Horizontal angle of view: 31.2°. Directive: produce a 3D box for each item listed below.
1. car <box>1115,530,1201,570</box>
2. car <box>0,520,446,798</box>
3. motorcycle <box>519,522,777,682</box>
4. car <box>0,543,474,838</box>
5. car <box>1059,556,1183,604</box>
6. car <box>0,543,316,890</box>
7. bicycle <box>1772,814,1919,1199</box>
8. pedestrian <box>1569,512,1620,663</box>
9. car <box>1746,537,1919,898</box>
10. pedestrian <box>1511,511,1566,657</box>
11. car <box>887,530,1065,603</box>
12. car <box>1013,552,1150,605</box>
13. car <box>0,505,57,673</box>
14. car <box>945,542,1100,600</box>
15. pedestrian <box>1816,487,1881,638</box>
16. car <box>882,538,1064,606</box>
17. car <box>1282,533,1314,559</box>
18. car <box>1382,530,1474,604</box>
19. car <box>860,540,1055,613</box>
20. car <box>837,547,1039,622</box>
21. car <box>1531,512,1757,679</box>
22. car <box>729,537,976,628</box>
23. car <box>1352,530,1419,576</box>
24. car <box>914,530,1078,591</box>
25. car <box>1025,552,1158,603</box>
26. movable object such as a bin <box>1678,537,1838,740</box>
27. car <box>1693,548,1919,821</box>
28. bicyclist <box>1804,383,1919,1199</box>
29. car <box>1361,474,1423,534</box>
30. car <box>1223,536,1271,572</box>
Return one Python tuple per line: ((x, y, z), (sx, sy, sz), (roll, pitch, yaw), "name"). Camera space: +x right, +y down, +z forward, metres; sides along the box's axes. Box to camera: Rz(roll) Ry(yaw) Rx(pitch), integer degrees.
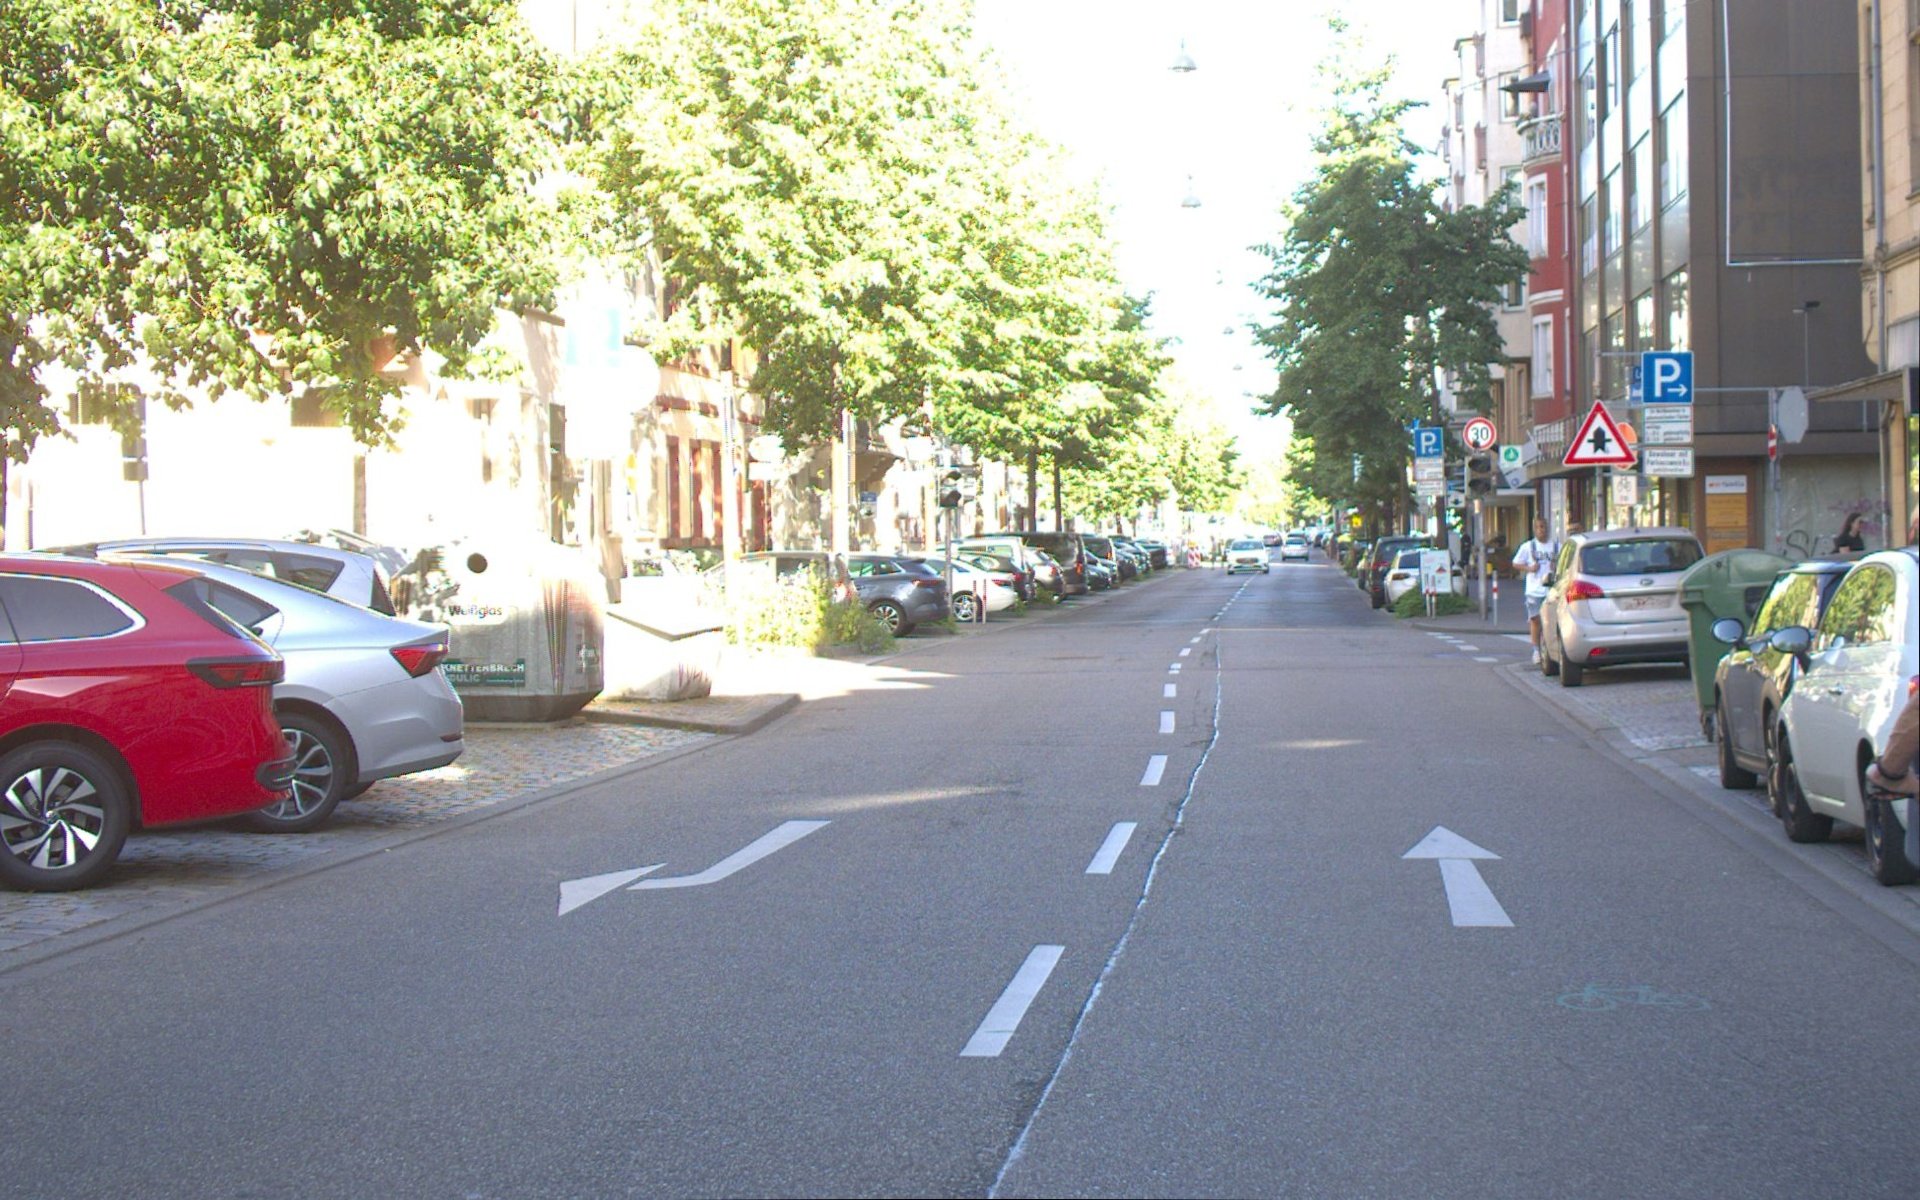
((10.028, -2.506, 173.851), (3.990, 2.007, 1.999), (0, 1, 16), "car")
((-5.298, 0.335, 20.675), (3.986, 1.580, 1.831), (1, 0, -25), "car")
((-3.256, 0.022, 35.874), (2.475, 1.599, 0.998), (-1, 1, 25), "motorcycle")
((-4.865, 0.448, 18.113), (4.220, 1.472, 1.736), (1, 0, -26), "car")
((5.503, -0.685, 117.106), (3.988, 1.503, 1.999), (2, 1, 10), "car")
((-5.402, 0.483, 15.204), (4.833, 1.483, 1.765), (1, 0, -17), "car")
((1.965, 0.949, 6.063), (0.652, 0.955, 2.697), (1, 0, 5), "bicycle")
((7.516, -0.144, 40.759), (0.512, 1.774, 0.612), (1, 0, 4), "pedestrian")
((4.850, 0.456, 16.188), (1.718, 1.510, 3.582), (-3, 0, 5), "car")
((6.938, -0.196, 41.245), (0.614, 1.729, 0.634), (1, 0, 7), "pedestrian")
((0.400, -0.798, 81.710), (3.988, 1.668, 2.088), (1, 0, 7), "car")
((3.804, -0.678, 107.353), (3.988, 1.503, 1.999), (2, 1, 10), "car")
((-12.598, -0.145, 37.176), (5.262, 1.794, 2.164), (1, 0, -20), "car")
((1.701, -0.789, 92.458), (3.988, 1.503, 2.000), (1, 0, 6), "car")
((11.113, -0.464, 42.993), (0.646, 1.865, 0.626), (1, 0, 28), "pedestrian")
((0.313, -0.651, 79.221), (3.988, 1.503, 1.999), (1, 0, 7), "car")
((20.801, -3.314, 211.627), (1.871, 1.550, 3.999), (1, 0, 6), "car")
((10.648, -0.734, 78.171), (1.994, 1.612, 4.009), (1, 0, 8), "car")
((-0.030, -0.510, 74.198), (3.988, 1.503, 1.999), (1, 0, 7), "car")
((-0.440, -0.336, 71.925), (3.988, 1.503, 1.999), (1, 0, 7), "car")
((7.303, -0.053, 37.138), (1.899, 1.669, 4.824), (1, 0, 5), "car")
((-1.827, -0.305, 59.247), (3.988, 1.503, 1.999), (1, 0, 7), "car")
((13.642, -1.501, 110.406), (1.994, 1.448, 3.999), (0, 1, 5), "car")
((0.935, -1.011, 87.892), (3.988, 1.503, 1.894), (1, 0, 7), "car")
((4.207, -0.717, 109.578), (3.988, 1.503, 1.999), (2, 1, 10), "car")
((6.165, 0.280, 26.643), (1.074, 1.452, 1.492), (-3, 1, 11), "movable object such as a bin")
((5.343, 0.450, 20.131), (1.678, 1.443, 3.784), (1, 0, 6), "car")
((1.982, 0.375, 6.048), (0.786, 1.448, 1.095), (1, 0, 5), "bicyclist")
((15.284, -3.388, 121.882), (1.994, 2.007, 3.999), (-2, 1, 5), "car")
((12.691, -2.022, 151.692), (1.994, 1.550, 3.999), (1, 0, 6), "car")
